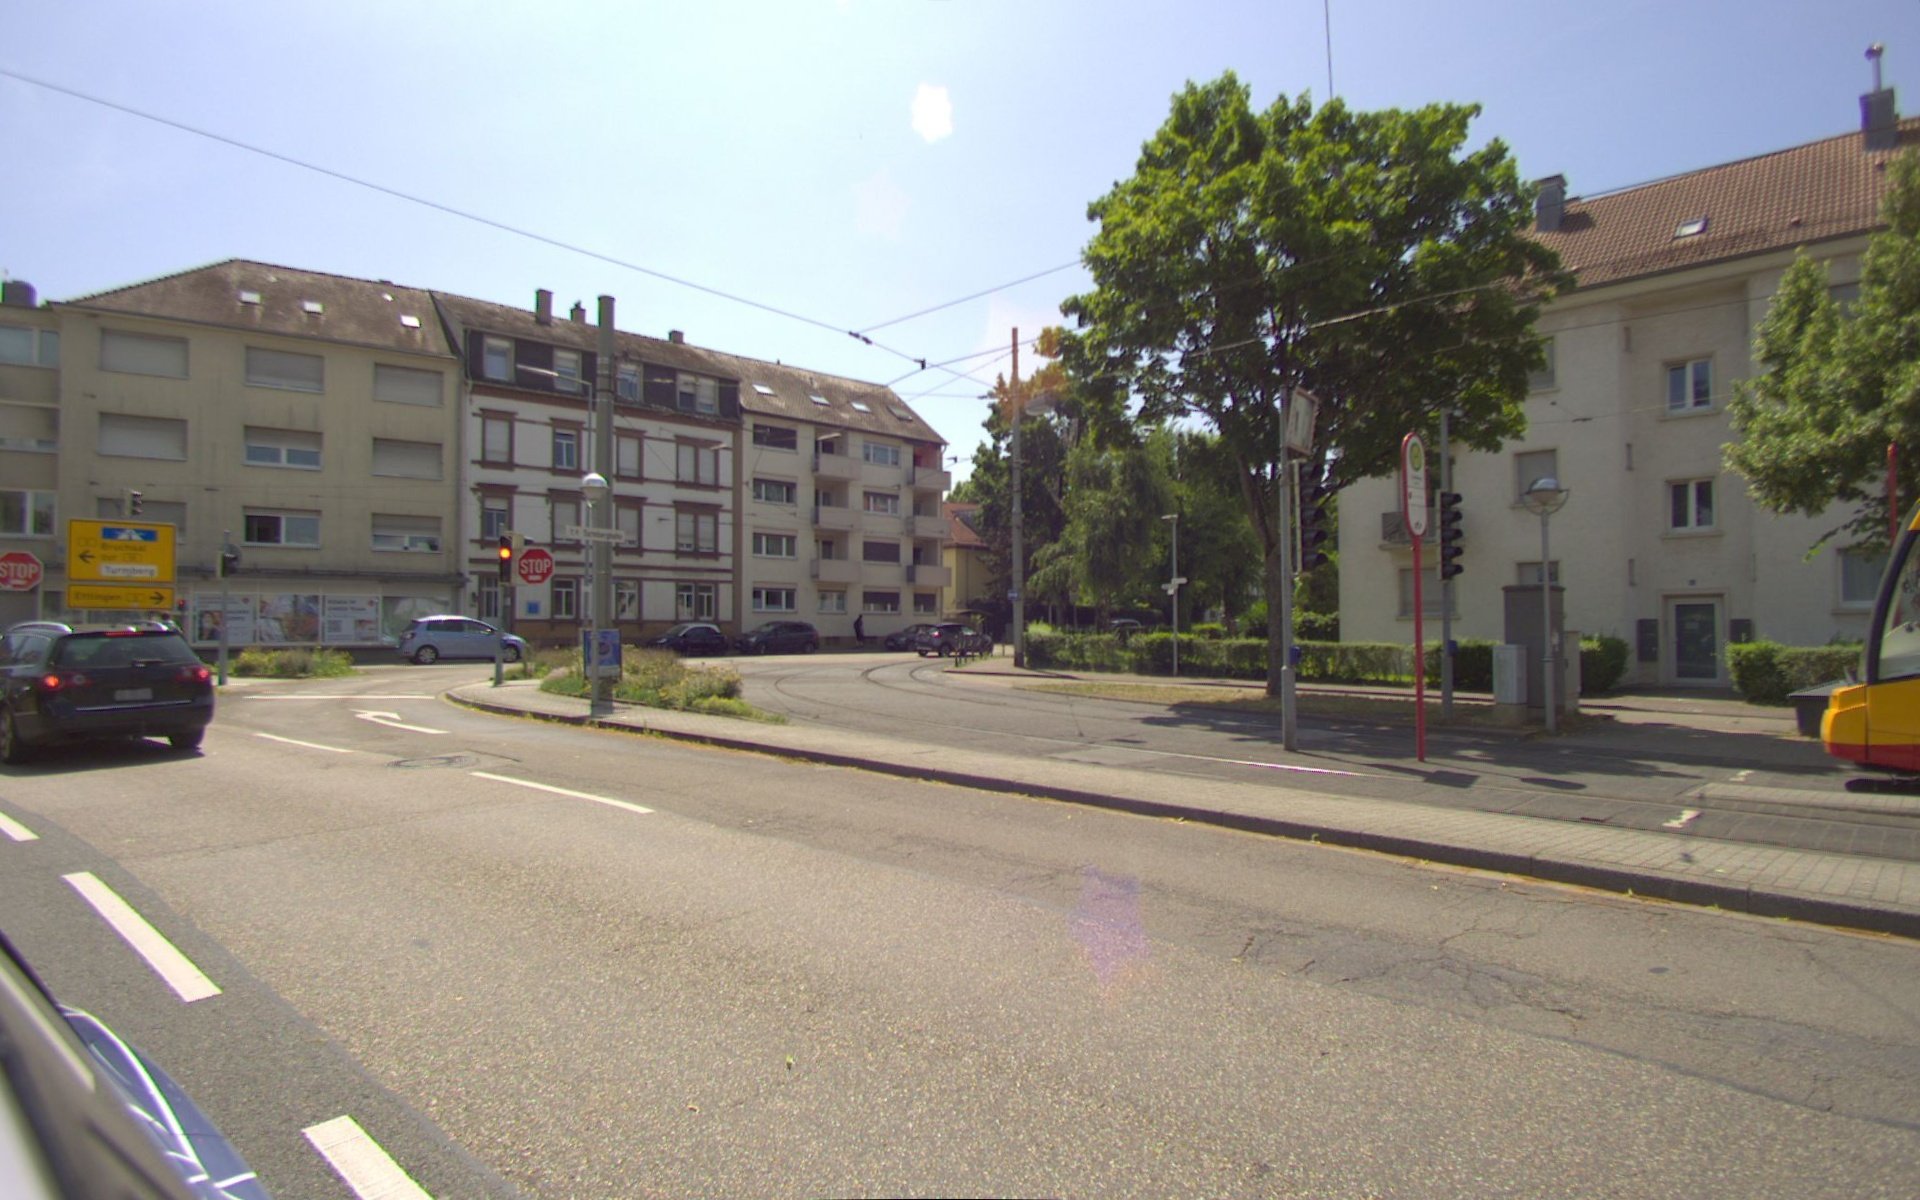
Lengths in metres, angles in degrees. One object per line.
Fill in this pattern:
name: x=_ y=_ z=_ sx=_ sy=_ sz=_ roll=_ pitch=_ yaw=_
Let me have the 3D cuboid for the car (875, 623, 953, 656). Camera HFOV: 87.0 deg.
car: x=-2.476 y=2.108 z=54.779 sx=4.009 sy=1.597 sz=1.816 roll=-1 pitch=0 yaw=-43

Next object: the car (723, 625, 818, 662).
car: x=-9.086 y=2.059 z=48.669 sx=4.009 sy=1.597 sz=2.002 roll=-1 pitch=0 yaw=-43

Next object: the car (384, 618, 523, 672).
car: x=-17.127 y=1.479 z=34.294 sx=3.935 sy=1.630 sz=1.764 roll=-1 pitch=0 yaw=-37

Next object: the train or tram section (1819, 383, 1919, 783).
train or tram section: x=13.539 y=-0.299 z=5.953 sx=12.718 sy=3.521 sz=2.930 roll=-2 pitch=-1 yaw=45

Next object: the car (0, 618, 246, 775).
car: x=-10.448 y=0.963 z=11.842 sx=4.799 sy=1.502 sz=1.821 roll=-1 pitch=-1 yaw=34

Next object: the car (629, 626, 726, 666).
car: x=-12.680 y=2.042 z=45.531 sx=3.702 sy=1.597 sz=2.002 roll=-1 pitch=0 yaw=-43

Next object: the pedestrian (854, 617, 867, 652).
pedestrian: x=-5.337 y=1.841 z=54.368 sx=0.548 sy=1.871 sz=0.428 roll=-1 pitch=0 yaw=-43

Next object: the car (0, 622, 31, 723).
car: x=-16.344 y=1.112 z=15.683 sx=4.113 sy=1.502 sz=1.822 roll=-1 pitch=0 yaw=32
